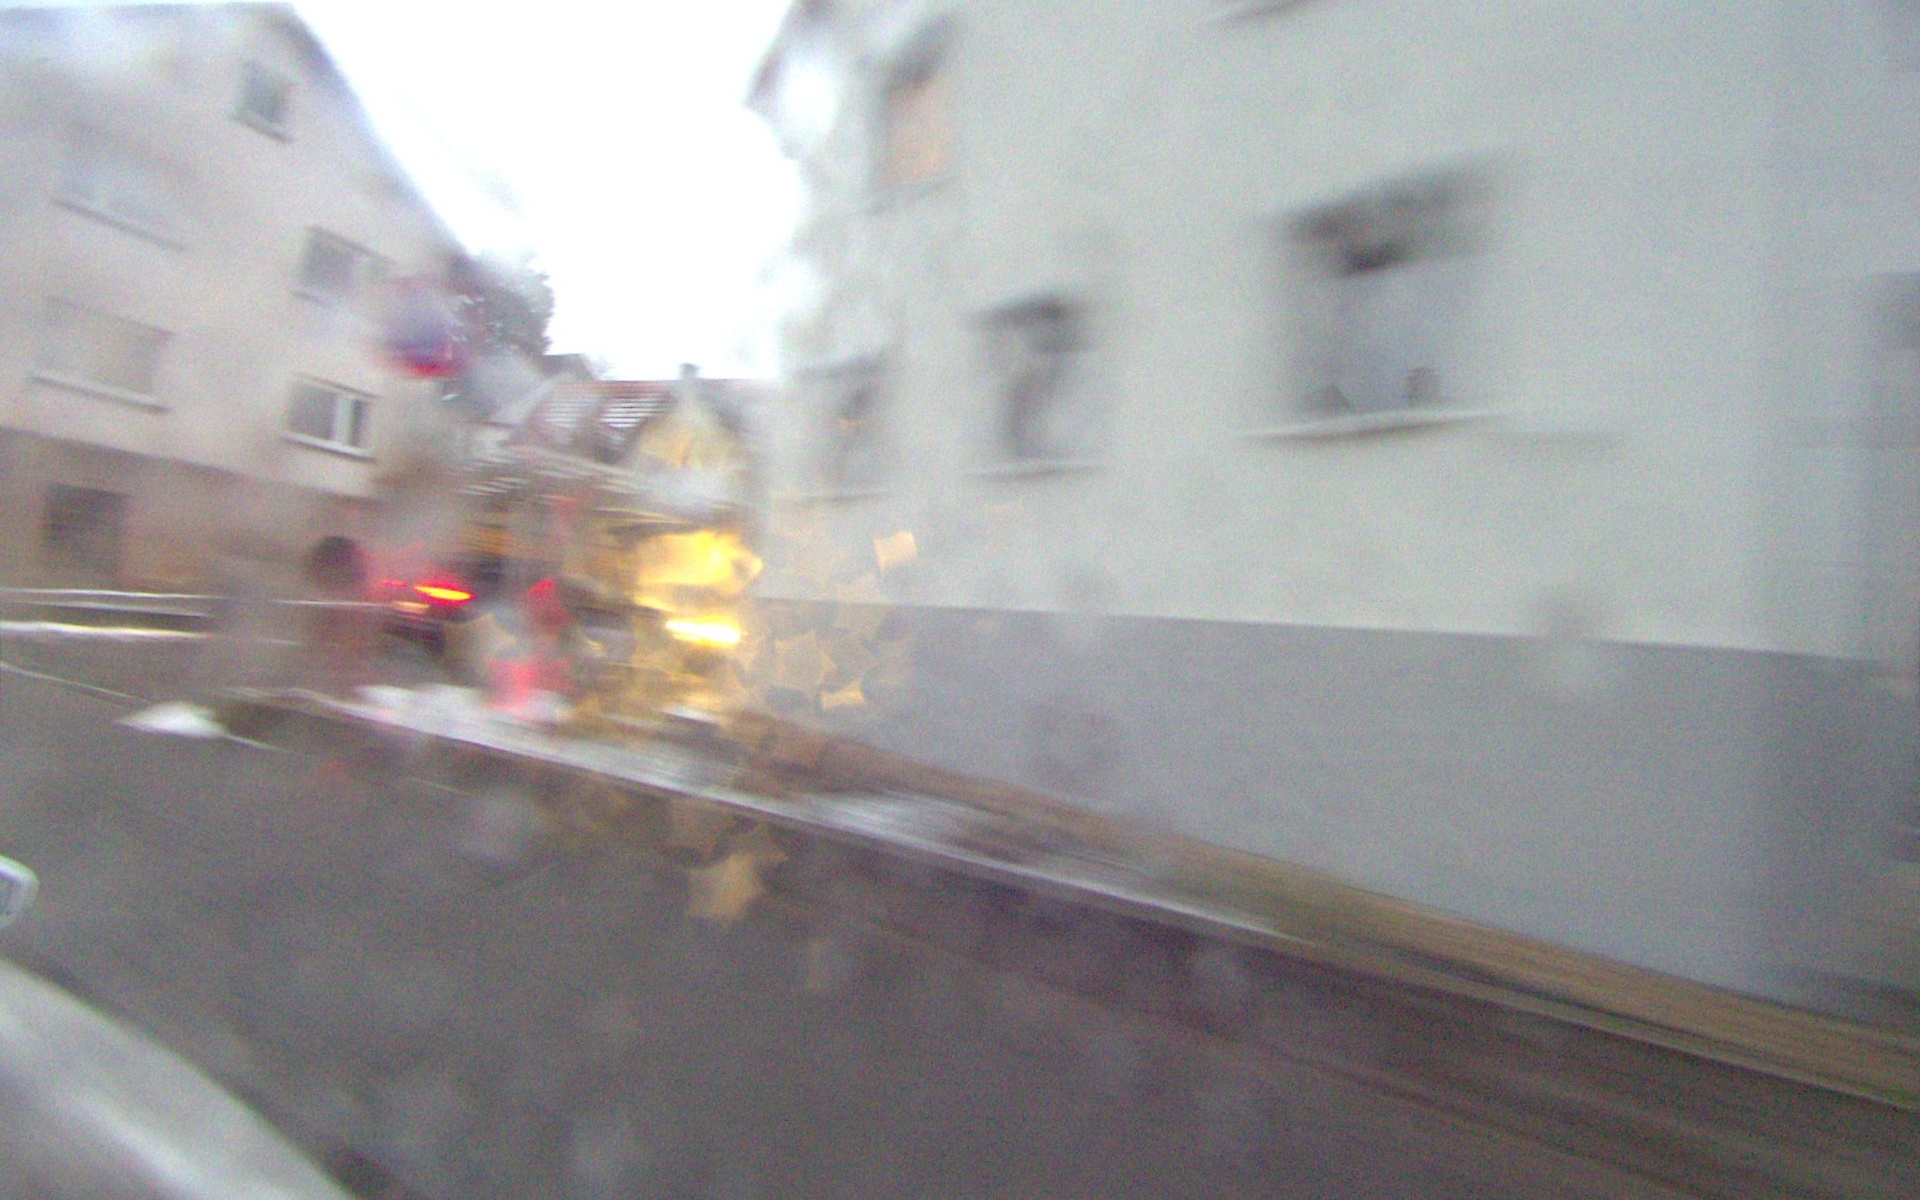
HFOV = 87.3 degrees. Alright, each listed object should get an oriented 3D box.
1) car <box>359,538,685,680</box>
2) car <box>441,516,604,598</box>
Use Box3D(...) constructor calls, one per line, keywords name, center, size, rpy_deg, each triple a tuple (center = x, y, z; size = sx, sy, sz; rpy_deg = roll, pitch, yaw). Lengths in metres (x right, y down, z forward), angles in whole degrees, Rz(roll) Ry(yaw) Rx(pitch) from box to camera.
Box3D(name="car", center=(-6.453, 0.217, 15.239), size=(1.967, 1.637, 3.992), rpy_deg=(7, -1, 33))
Box3D(name="car", center=(-12.445, -1.223, 28.641), size=(3.929, 1.792, 2.000), rpy_deg=(6, -2, 26))
